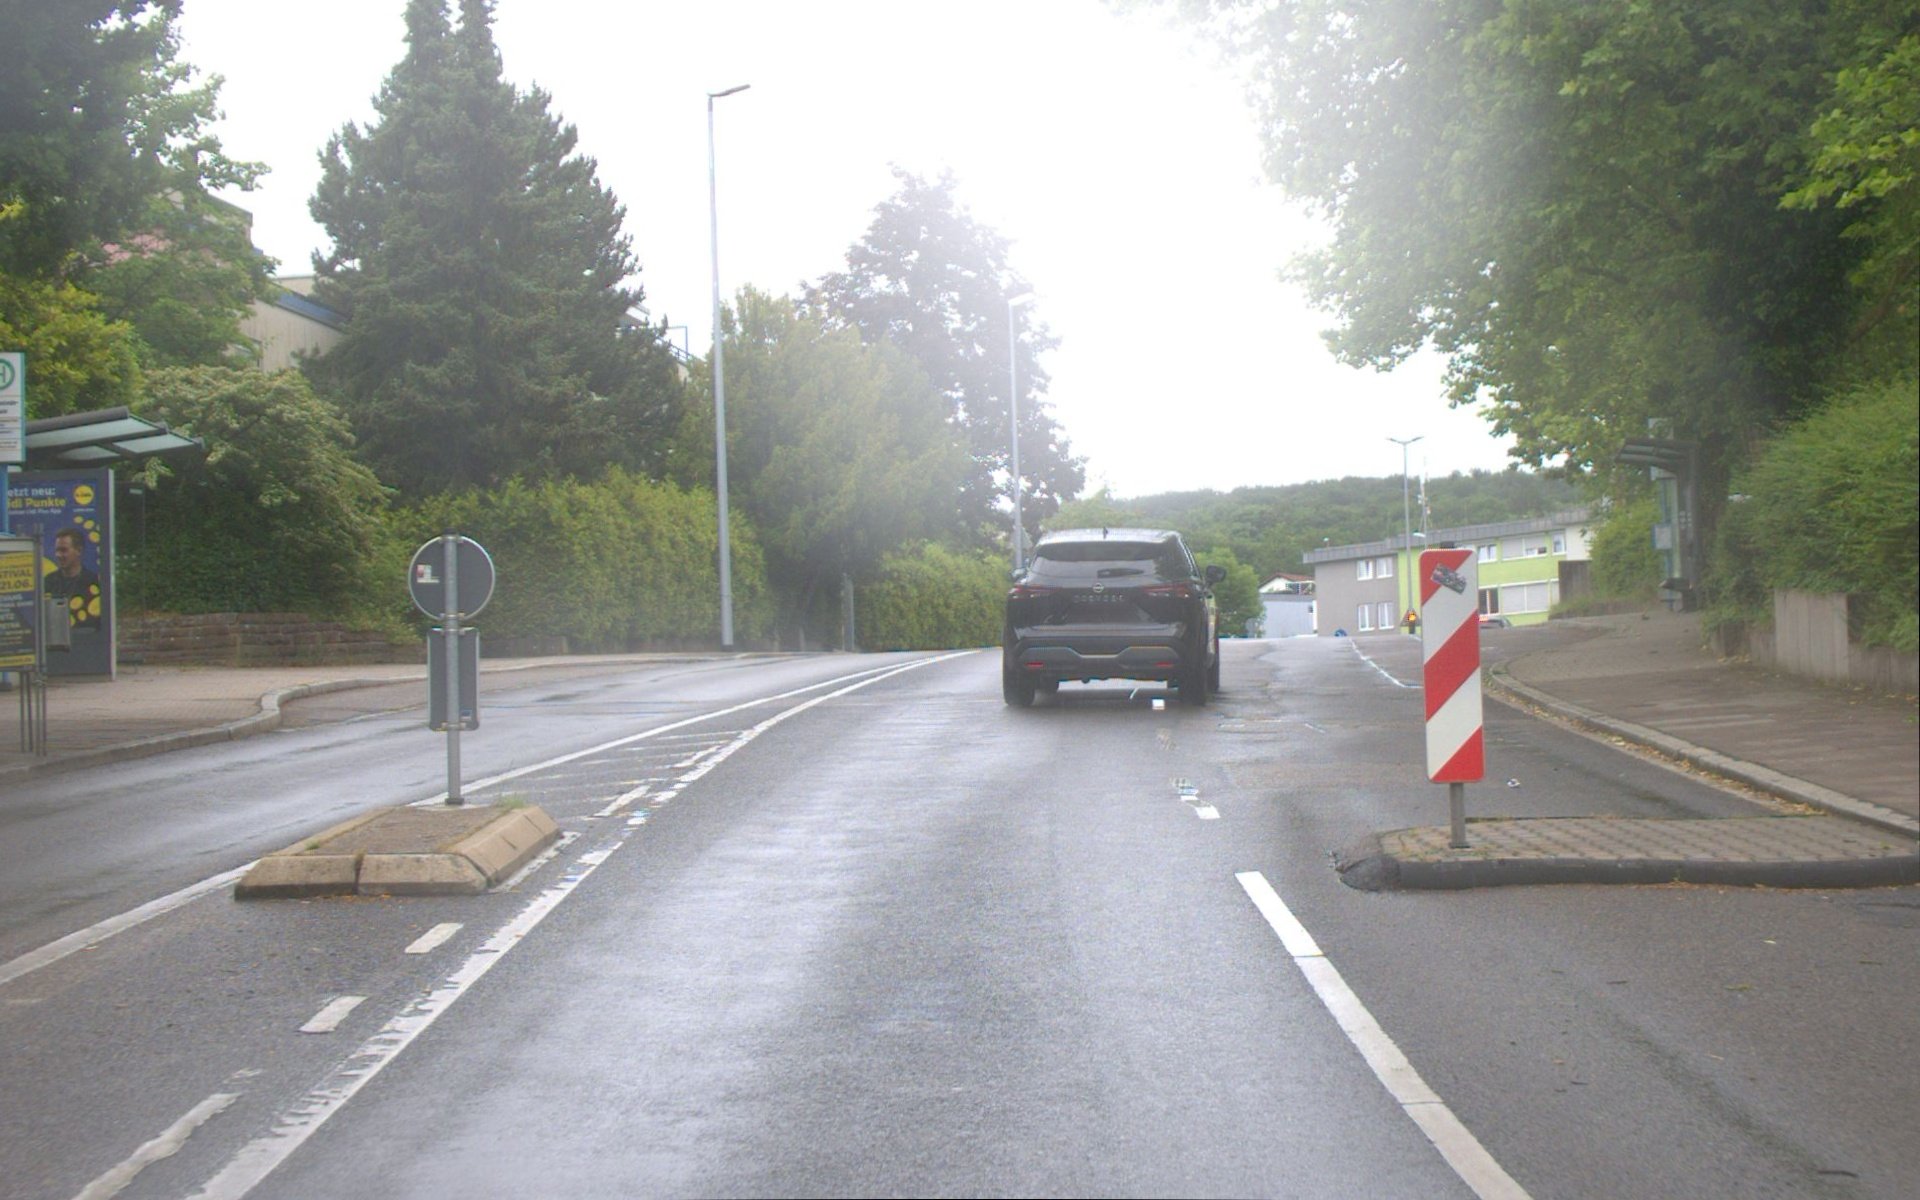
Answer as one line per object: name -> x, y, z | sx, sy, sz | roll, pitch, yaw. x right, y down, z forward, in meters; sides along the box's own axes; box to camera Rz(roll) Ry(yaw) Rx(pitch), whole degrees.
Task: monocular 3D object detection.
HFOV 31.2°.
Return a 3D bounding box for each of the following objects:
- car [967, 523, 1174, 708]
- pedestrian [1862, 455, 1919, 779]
car -> 0.999, 0.096, 32.182 | 1.790, 1.598, 4.253 | -1, 1, 1
pedestrian -> 6.089, 0.102, 20.432 | 1.051, 1.887, 1.133 | -1, -1, -5
